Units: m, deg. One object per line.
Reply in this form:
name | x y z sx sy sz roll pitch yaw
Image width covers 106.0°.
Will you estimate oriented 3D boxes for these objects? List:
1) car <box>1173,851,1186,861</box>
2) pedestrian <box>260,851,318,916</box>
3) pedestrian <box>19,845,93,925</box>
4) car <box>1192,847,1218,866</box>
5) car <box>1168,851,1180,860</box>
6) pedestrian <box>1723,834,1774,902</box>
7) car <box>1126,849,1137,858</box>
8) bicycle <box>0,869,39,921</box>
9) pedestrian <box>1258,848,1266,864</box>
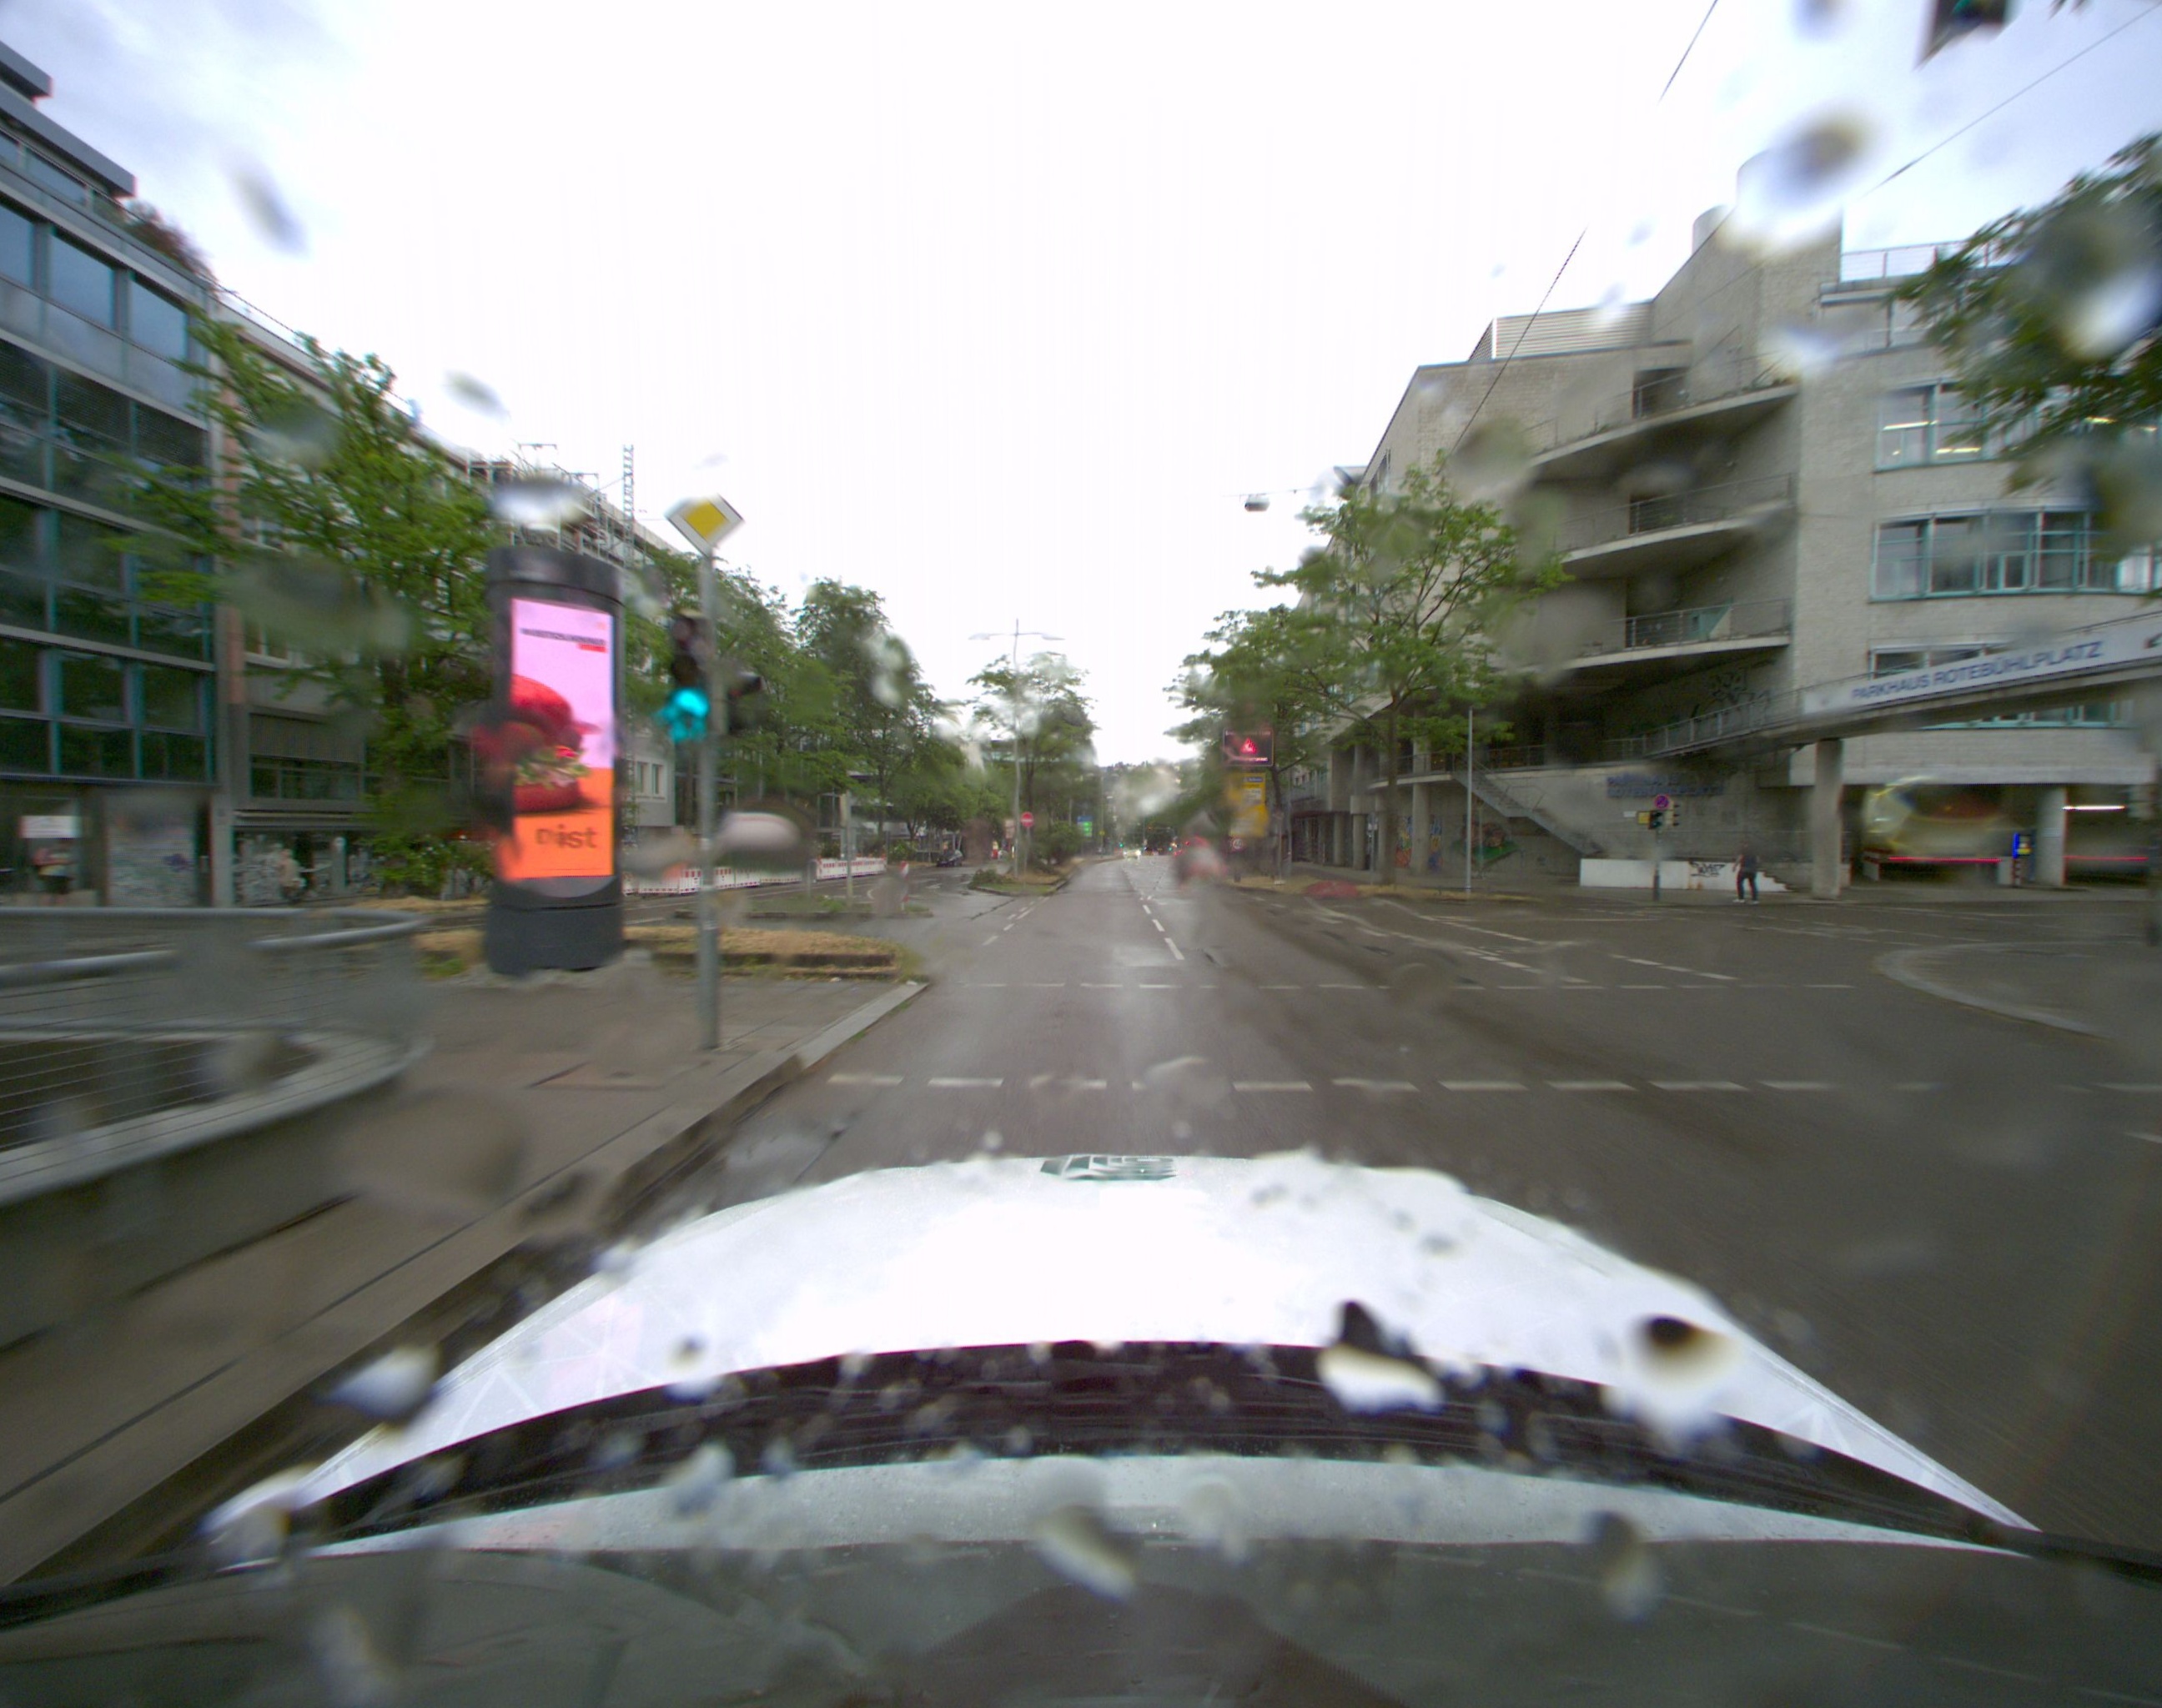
car | 17.951 0.426 148.410 1.986 1.724 4.001 -1 -1 1
pedestrian | -21.770 0.790 22.411 0.691 1.741 0.876 1 -1 -1
pedestrian | -22.946 0.688 18.246 0.694 1.741 0.694 1 -1 -4
car | 11.600 0.207 76.235 2.324 1.691 4.010 -1 0 9
car | 18.213 0.319 159.395 1.986 1.736 4.002 -1 -1 2
pedestrian | 19.059 0.393 23.264 0.843 1.910 0.758 0 0 1
car | 9.331 -0.053 150.159 1.822 1.640 4.300 1 0 1
bicycle | -23.096 0.870 17.045 0.444 1.085 1.567 0 0 6
pedestrian | 21.500 0.201 96.803 0.772 1.920 0.703 -1 -1 1
